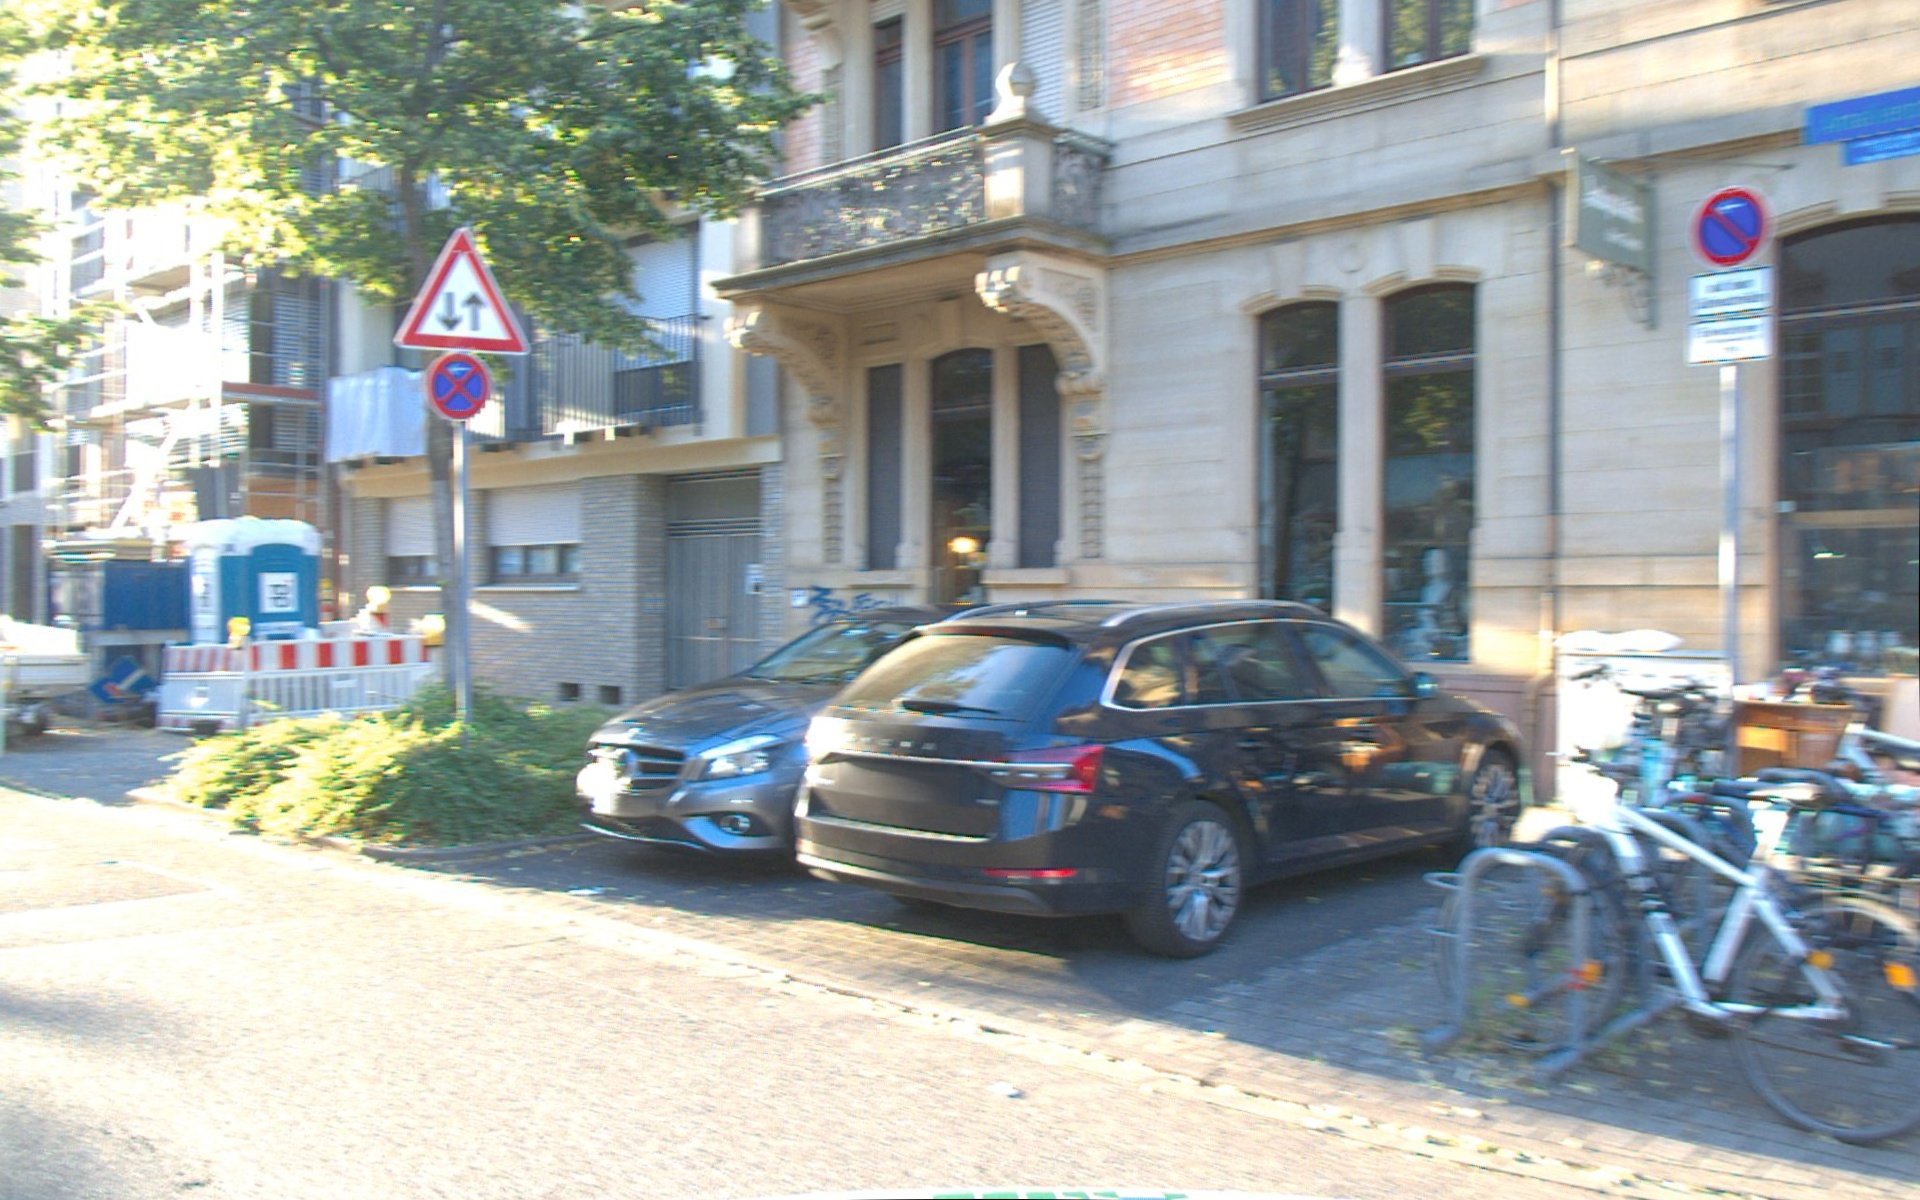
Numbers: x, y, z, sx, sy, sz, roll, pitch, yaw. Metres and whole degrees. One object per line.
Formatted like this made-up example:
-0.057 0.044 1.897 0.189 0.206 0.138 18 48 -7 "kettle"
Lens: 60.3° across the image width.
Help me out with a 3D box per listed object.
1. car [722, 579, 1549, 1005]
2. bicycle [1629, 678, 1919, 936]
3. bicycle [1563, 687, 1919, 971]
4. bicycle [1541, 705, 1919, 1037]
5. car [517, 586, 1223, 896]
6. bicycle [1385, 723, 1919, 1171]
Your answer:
1.146 0.687 8.403 1.878 1.537 4.512 0 1 43 "car"
4.180 0.935 7.541 2.073 1.058 0.462 0 0 43 "bicycle"
3.709 0.946 7.042 2.073 1.031 0.636 0 0 43 "bicycle"
3.163 0.967 6.147 1.800 1.031 0.636 0 0 43 "bicycle"
-0.355 0.689 10.542 1.835 1.505 4.512 0 1 43 "car"
2.265 0.989 5.165 0.567 1.065 1.802 0 1 -44 "bicycle"
